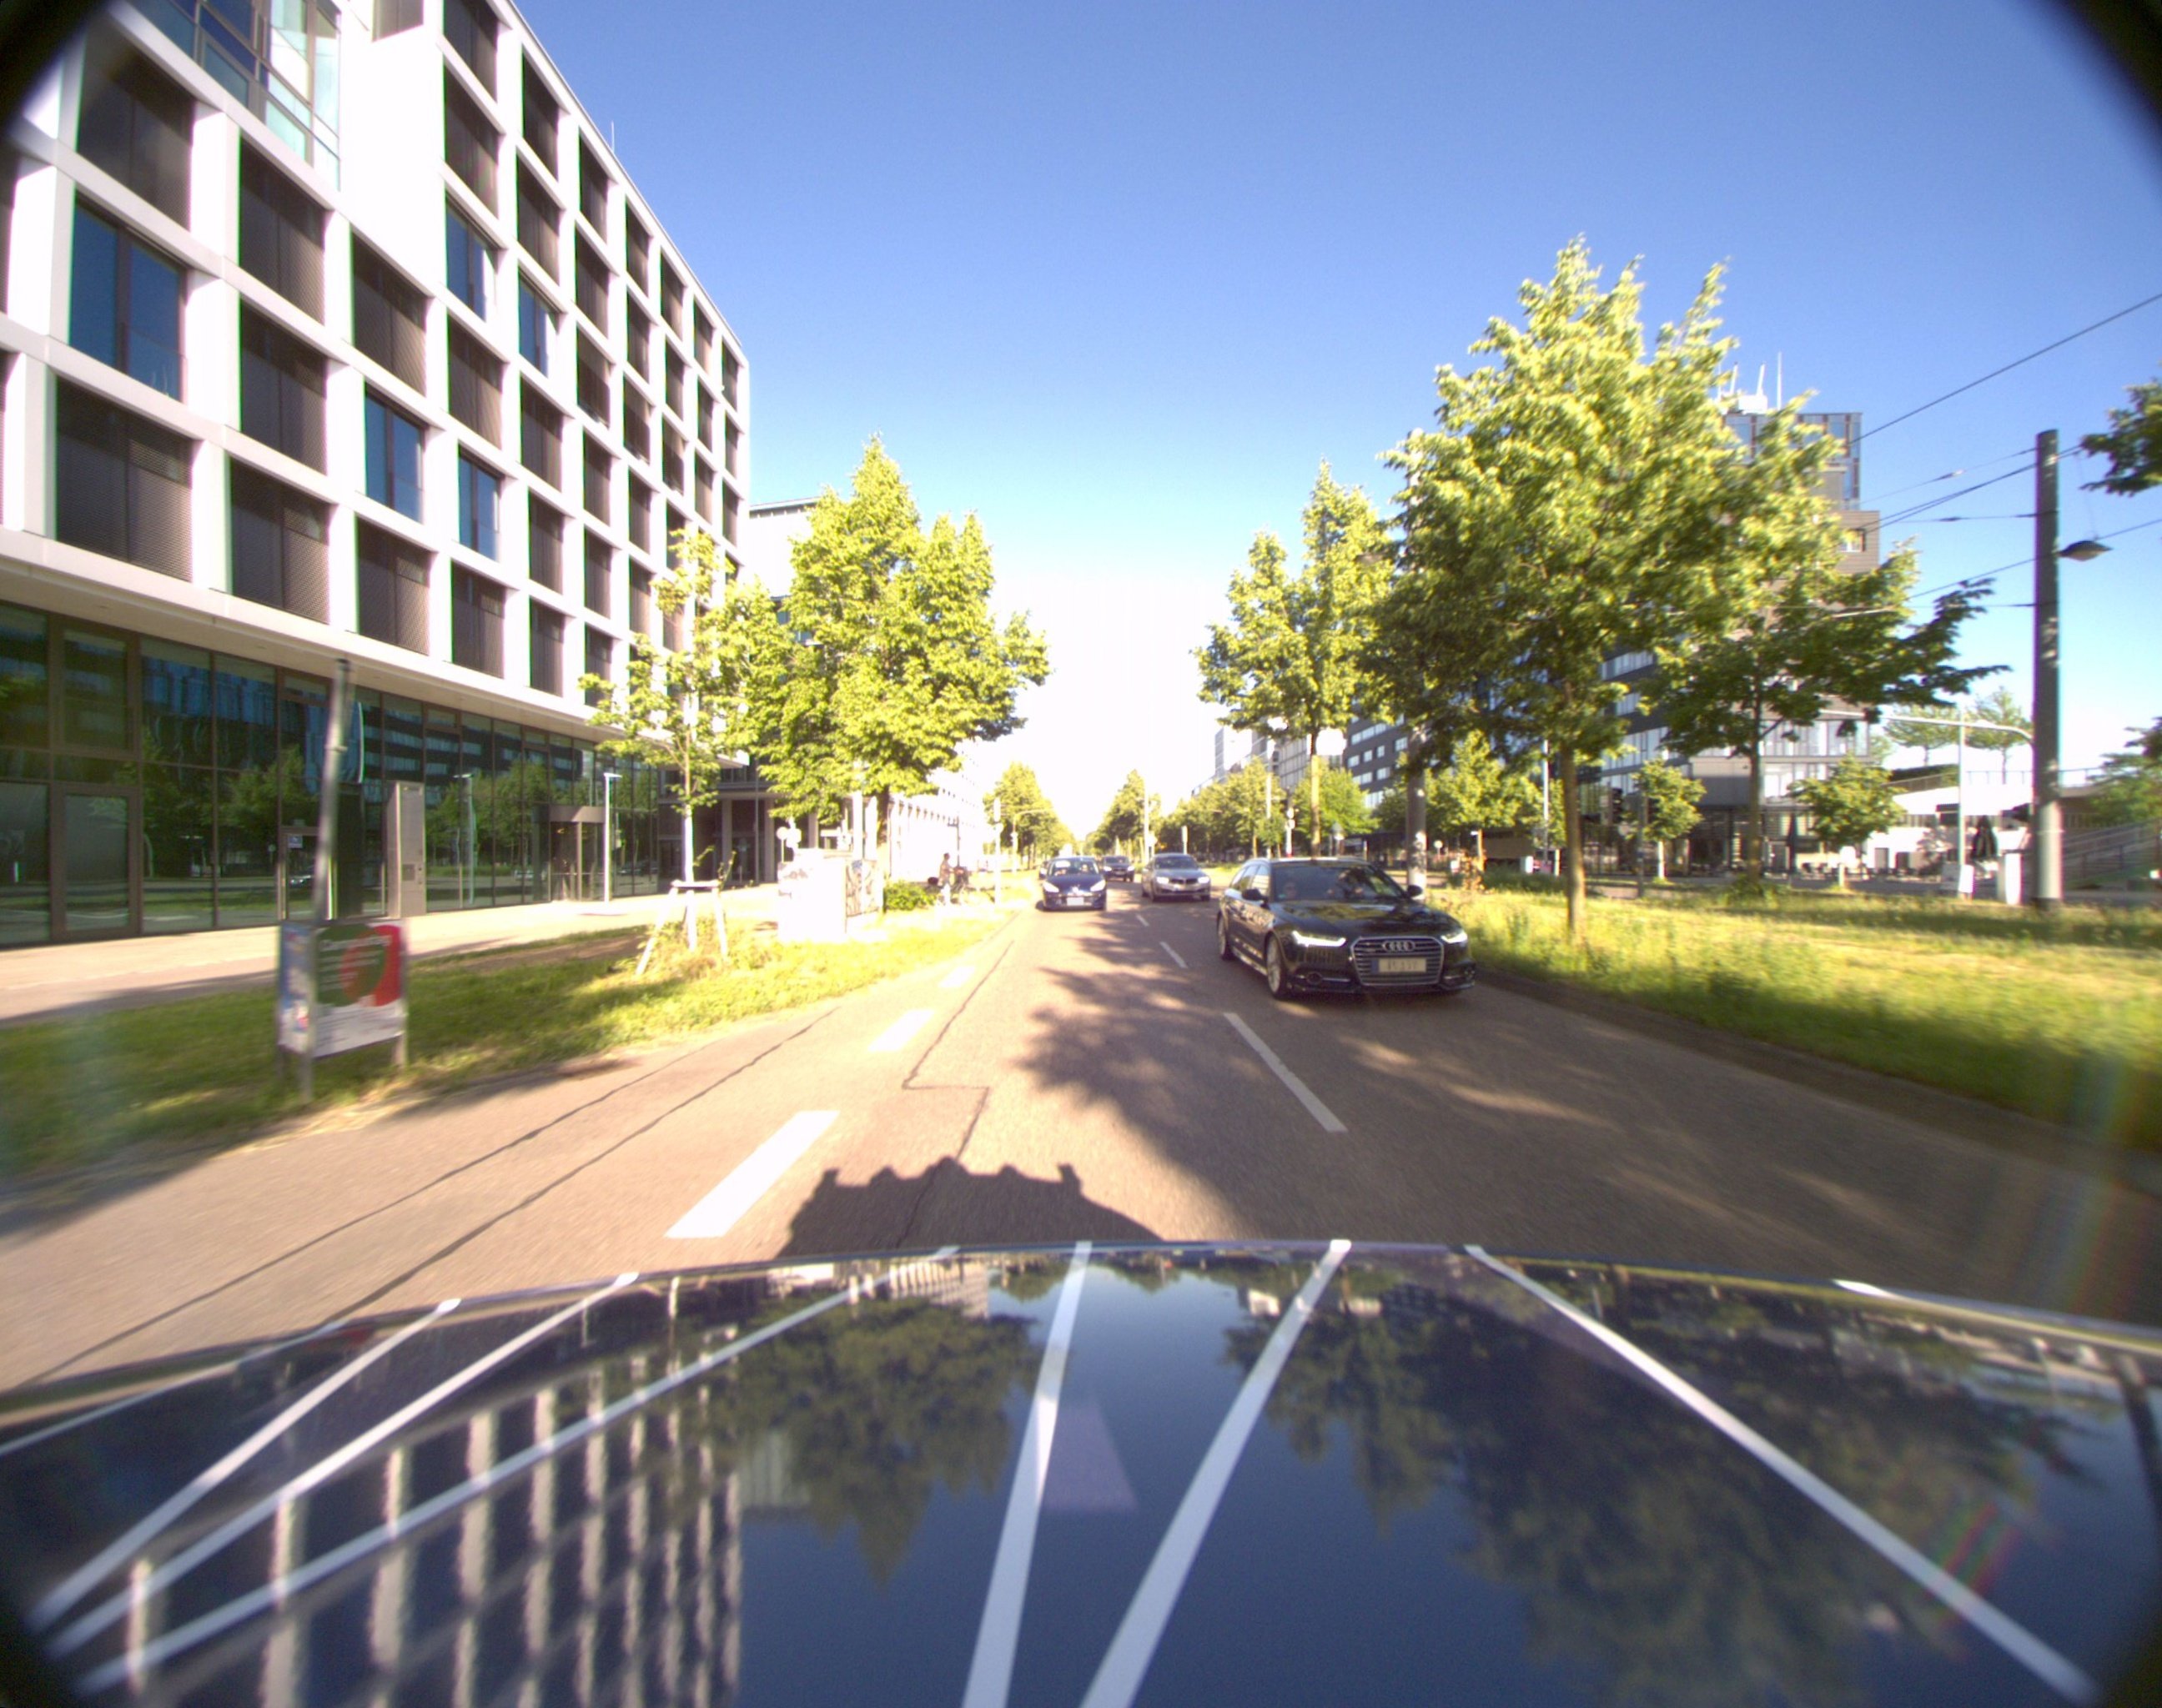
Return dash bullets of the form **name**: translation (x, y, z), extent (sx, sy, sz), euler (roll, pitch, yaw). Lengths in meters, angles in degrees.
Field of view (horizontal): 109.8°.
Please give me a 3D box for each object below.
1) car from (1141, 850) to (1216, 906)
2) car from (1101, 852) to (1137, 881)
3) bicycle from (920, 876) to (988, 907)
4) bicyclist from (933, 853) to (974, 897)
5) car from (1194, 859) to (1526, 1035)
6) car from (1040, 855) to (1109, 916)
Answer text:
- **car**: translation (3.095, 0.720, 24.939), extent (1.886, 1.569, 4.277), euler (-2, 1, 1)
- **car**: translation (2.214, 0.692, 44.131), extent (1.950, 1.514, 4.000), euler (-2, 1, 3)
- **bicycle**: translation (-3.823, 1.128, 23.015), extent (1.928, 0.899, 0.647), euler (0, 1, 3)
- **bicyclist**: translation (-3.853, 0.635, 23.012), extent (1.086, 1.315, 0.639), euler (0, 1, 3)
- **car**: translation (2.772, 0.821, 9.035), extent (1.958, 1.471, 5.084), euler (-1, -1, -1)
- **car**: translation (-0.114, 0.822, 21.840), extent (1.766, 1.462, 4.000), euler (-2, 1, 2)
